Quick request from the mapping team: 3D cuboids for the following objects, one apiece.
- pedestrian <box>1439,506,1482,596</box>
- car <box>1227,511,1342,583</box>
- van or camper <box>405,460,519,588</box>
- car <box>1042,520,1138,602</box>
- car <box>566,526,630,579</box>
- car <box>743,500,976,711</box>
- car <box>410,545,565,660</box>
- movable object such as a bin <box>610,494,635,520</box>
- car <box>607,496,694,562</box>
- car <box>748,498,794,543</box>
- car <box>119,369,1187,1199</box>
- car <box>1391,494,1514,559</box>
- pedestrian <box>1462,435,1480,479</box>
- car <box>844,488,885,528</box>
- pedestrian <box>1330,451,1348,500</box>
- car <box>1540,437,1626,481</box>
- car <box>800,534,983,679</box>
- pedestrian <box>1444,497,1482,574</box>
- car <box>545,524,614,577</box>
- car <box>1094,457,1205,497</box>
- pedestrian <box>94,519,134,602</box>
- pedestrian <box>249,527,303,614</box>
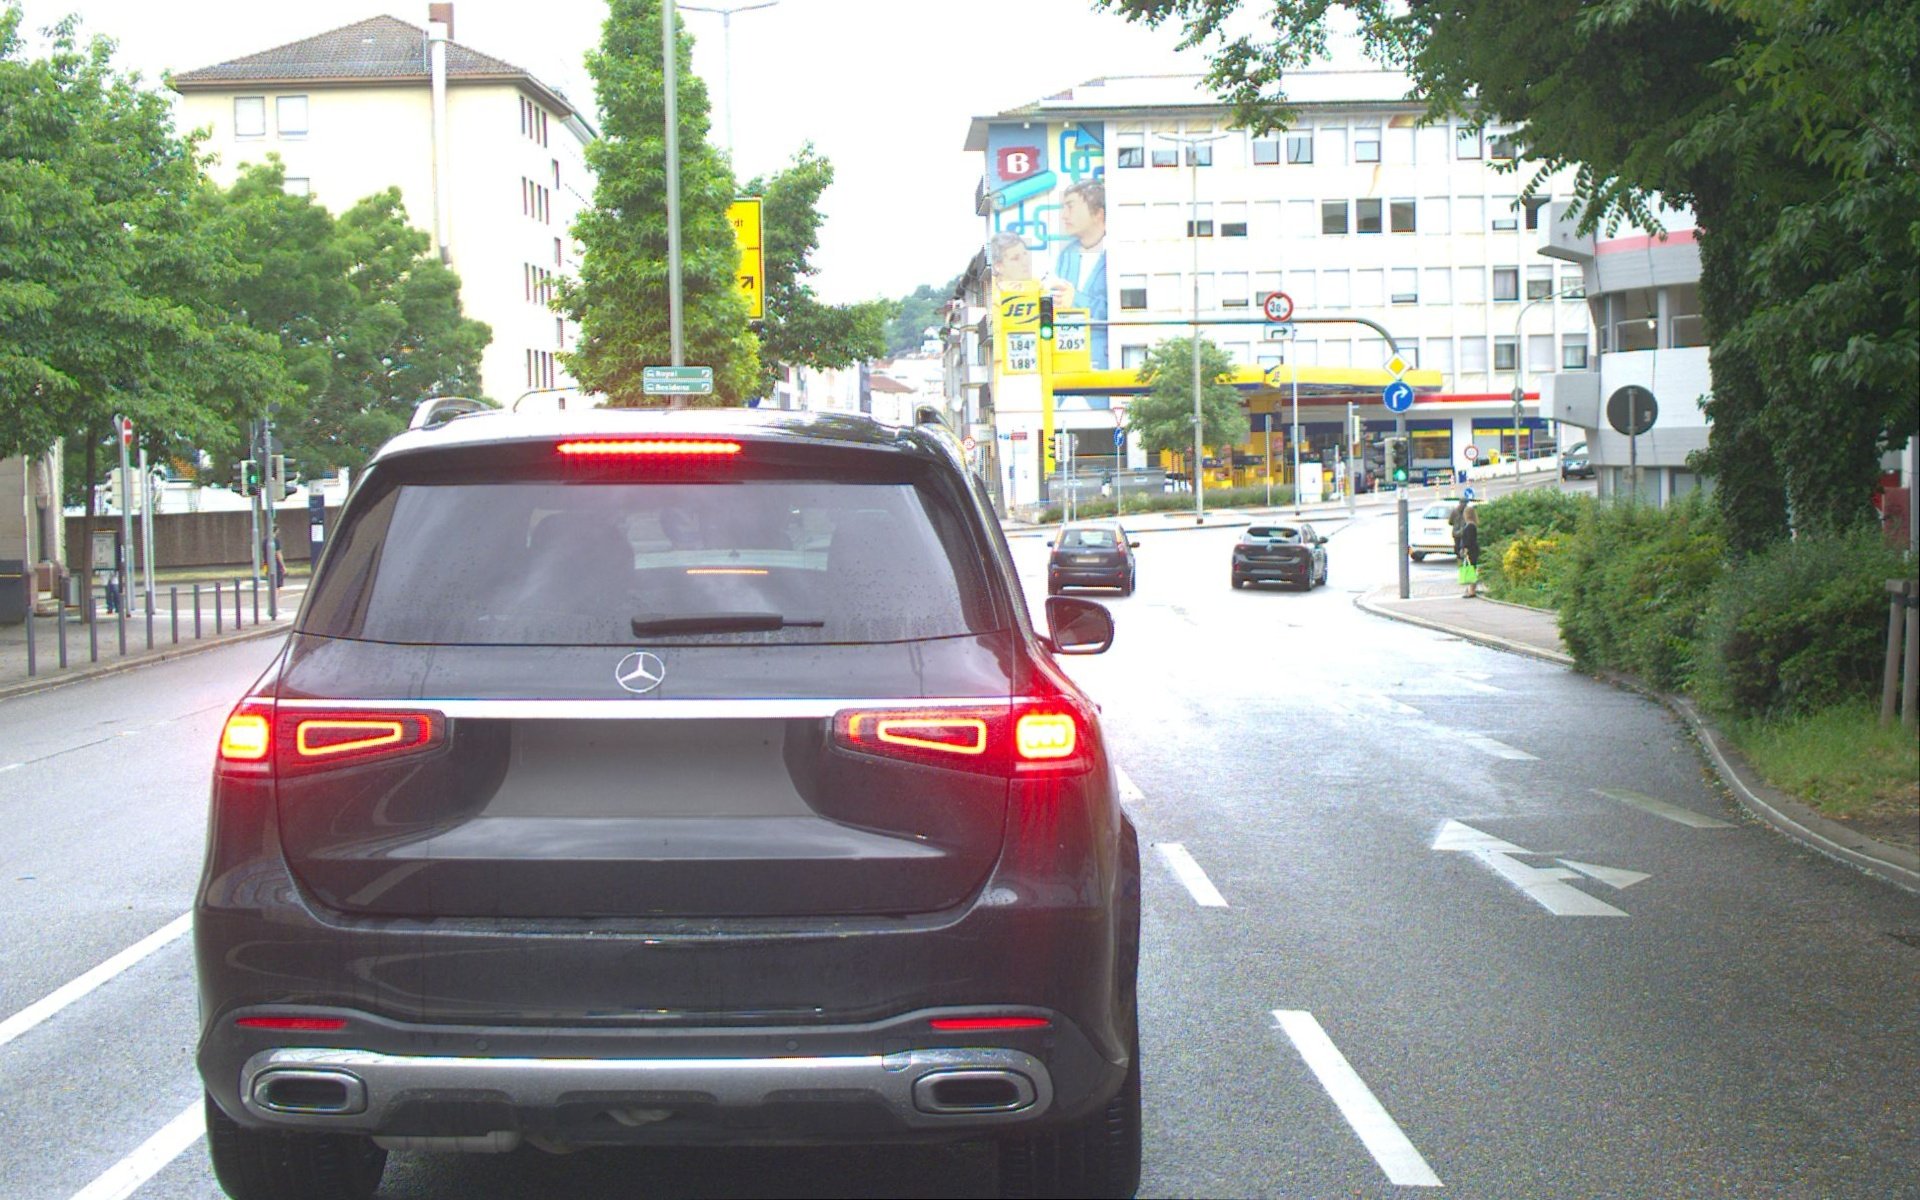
[{"bbox_3d":[9.510,-0.931,65.350,0.646,1.704,0.470,1,0,36],"label":"pedestrian"},{"bbox_3d":[7.028,-1.135,74.216,1.947,1.481,3.998,1,1,13],"label":"car"},{"bbox_3d":[-10.735,-1.621,74.493,2.101,2.573,5.909,-3,1,-6],"label":"van or camper"},{"bbox_3d":[2.649,-0.810,69.193,1.796,1.520,4.055,1,2,4],"label":"car"},{"bbox_3d":[-11.939,-1.560,113.612,1.905,1.697,4.001,1,1,-3],"label":"car"},{"bbox_3d":[-0.890,0.030,31.705,1.993,1.794,4.000,1,1,-1],"label":"car"},{"bbox_3d":[-6.584,0.006,48.208,1.741,1.465,3.883,-3,1,-3],"label":"car"},{"bbox_3d":[-13.838,-3.832,141.071,0.910,1.034,0.844,1,0,1],"label":"movable object such as a bin"},{"bbox_3d":[-7.541,-1.729,84.040,1.883,1.492,4.563,-2,1,-3],"label":"car"},{"bbox_3d":[-8.053,-3.380,146.748,1.868,1.833,3.820,1,1,-2],"label":"car"},{"bbox_3d":[-0.602,0.455,8.486,1.993,1.794,4.000,1,1,-1],"label":"car"},{"bbox_3d":[12.393,-1.839,86.373,1.757,1.543,3.994,1,1,28],"label":"car"},{"bbox_3d":[20.315,-5.686,136.659,0.526,1.721,0.688,0,2,26],"label":"pedestrian"},{"bbox_3d":[-4.988,-4.792,180.164,1.993,2.007,4.000,1,1,0],"label":"car"},{"bbox_3d":[13.252,-4.351,120.240,0.572,1.691,0.631,1,0,1],"label":"pedestrian"},{"bbox_3d":[25.086,-5.684,138.327,1.997,1.700,3.993,0,2,33],"label":"car"},{"bbox_3d":[-0.741,0.049,38.087,1.907,1.496,4.000,1,1,-1],"label":"car"},{"bbox_3d":[11.063,-1.411,75.668,0.717,1.684,0.456,1,0,-6],"label":"pedestrian"},{"bbox_3d":[-11.165,-1.444,101.019,1.797,1.489,3.804,1,1,-3],"label":"car"},{"bbox_3d":[7.058,-4.606,128.515,1.732,1.371,3.998,-4,3,-44],"label":"car"},{"bbox_3d":[-17.151,-0.801,69.720,0.642,1.660,1.019,1,0,-6],"label":"pedestrian"},{"bbox_3d":[-13.449,-0.578,67.579,0.946,1.699,0.713,1,0,-17],"label":"pedestrian"}]
